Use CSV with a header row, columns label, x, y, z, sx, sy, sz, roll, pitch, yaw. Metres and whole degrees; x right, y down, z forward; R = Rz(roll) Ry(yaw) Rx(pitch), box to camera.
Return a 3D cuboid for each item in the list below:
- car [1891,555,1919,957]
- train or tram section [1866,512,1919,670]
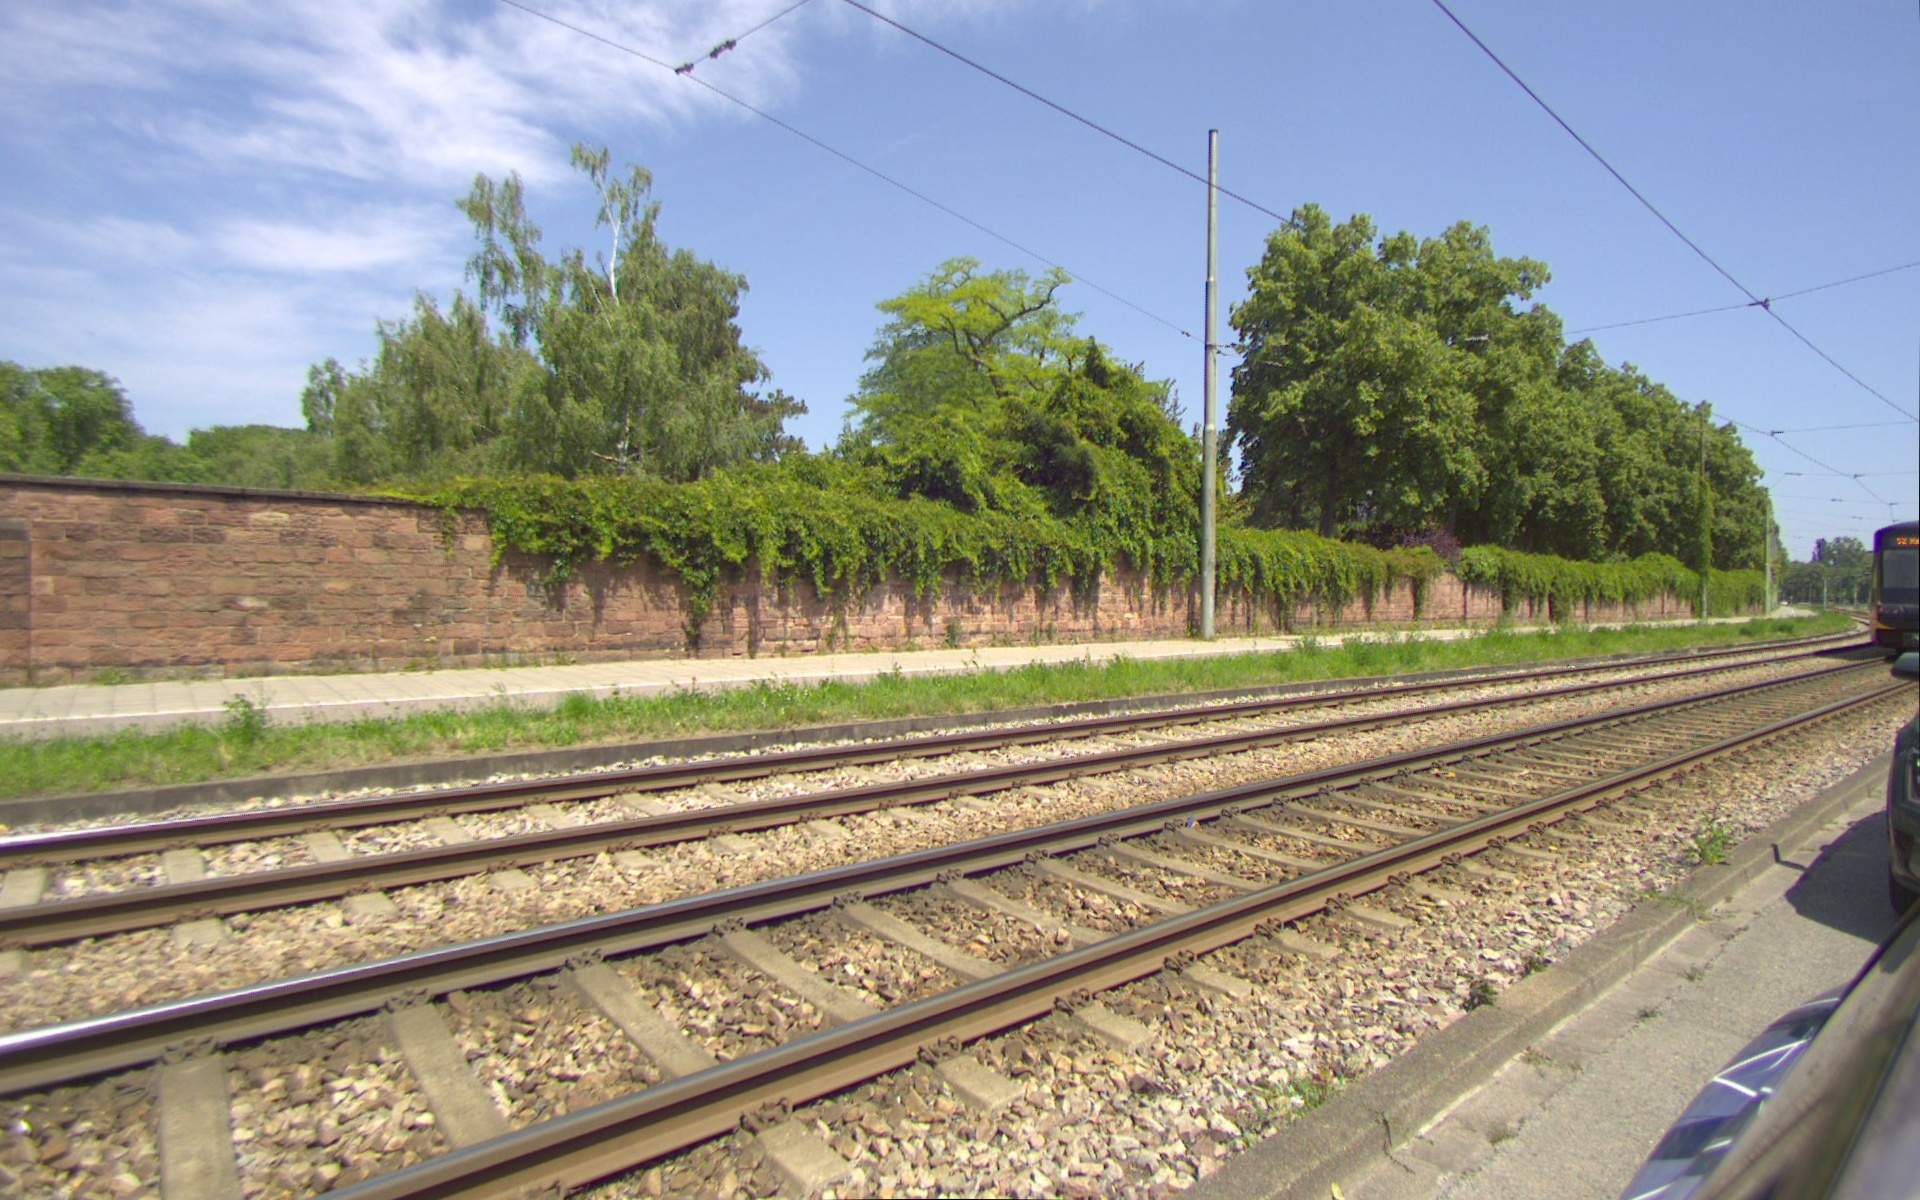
label,x,y,z,sx,sy,sz,roll,pitch,yaw
car,5.980,0.623,4.851,4.349,1.603,1.757,0,0,-41
train or tram section,28.876,-0.284,29.128,14.020,3.855,2.810,-1,0,-43
